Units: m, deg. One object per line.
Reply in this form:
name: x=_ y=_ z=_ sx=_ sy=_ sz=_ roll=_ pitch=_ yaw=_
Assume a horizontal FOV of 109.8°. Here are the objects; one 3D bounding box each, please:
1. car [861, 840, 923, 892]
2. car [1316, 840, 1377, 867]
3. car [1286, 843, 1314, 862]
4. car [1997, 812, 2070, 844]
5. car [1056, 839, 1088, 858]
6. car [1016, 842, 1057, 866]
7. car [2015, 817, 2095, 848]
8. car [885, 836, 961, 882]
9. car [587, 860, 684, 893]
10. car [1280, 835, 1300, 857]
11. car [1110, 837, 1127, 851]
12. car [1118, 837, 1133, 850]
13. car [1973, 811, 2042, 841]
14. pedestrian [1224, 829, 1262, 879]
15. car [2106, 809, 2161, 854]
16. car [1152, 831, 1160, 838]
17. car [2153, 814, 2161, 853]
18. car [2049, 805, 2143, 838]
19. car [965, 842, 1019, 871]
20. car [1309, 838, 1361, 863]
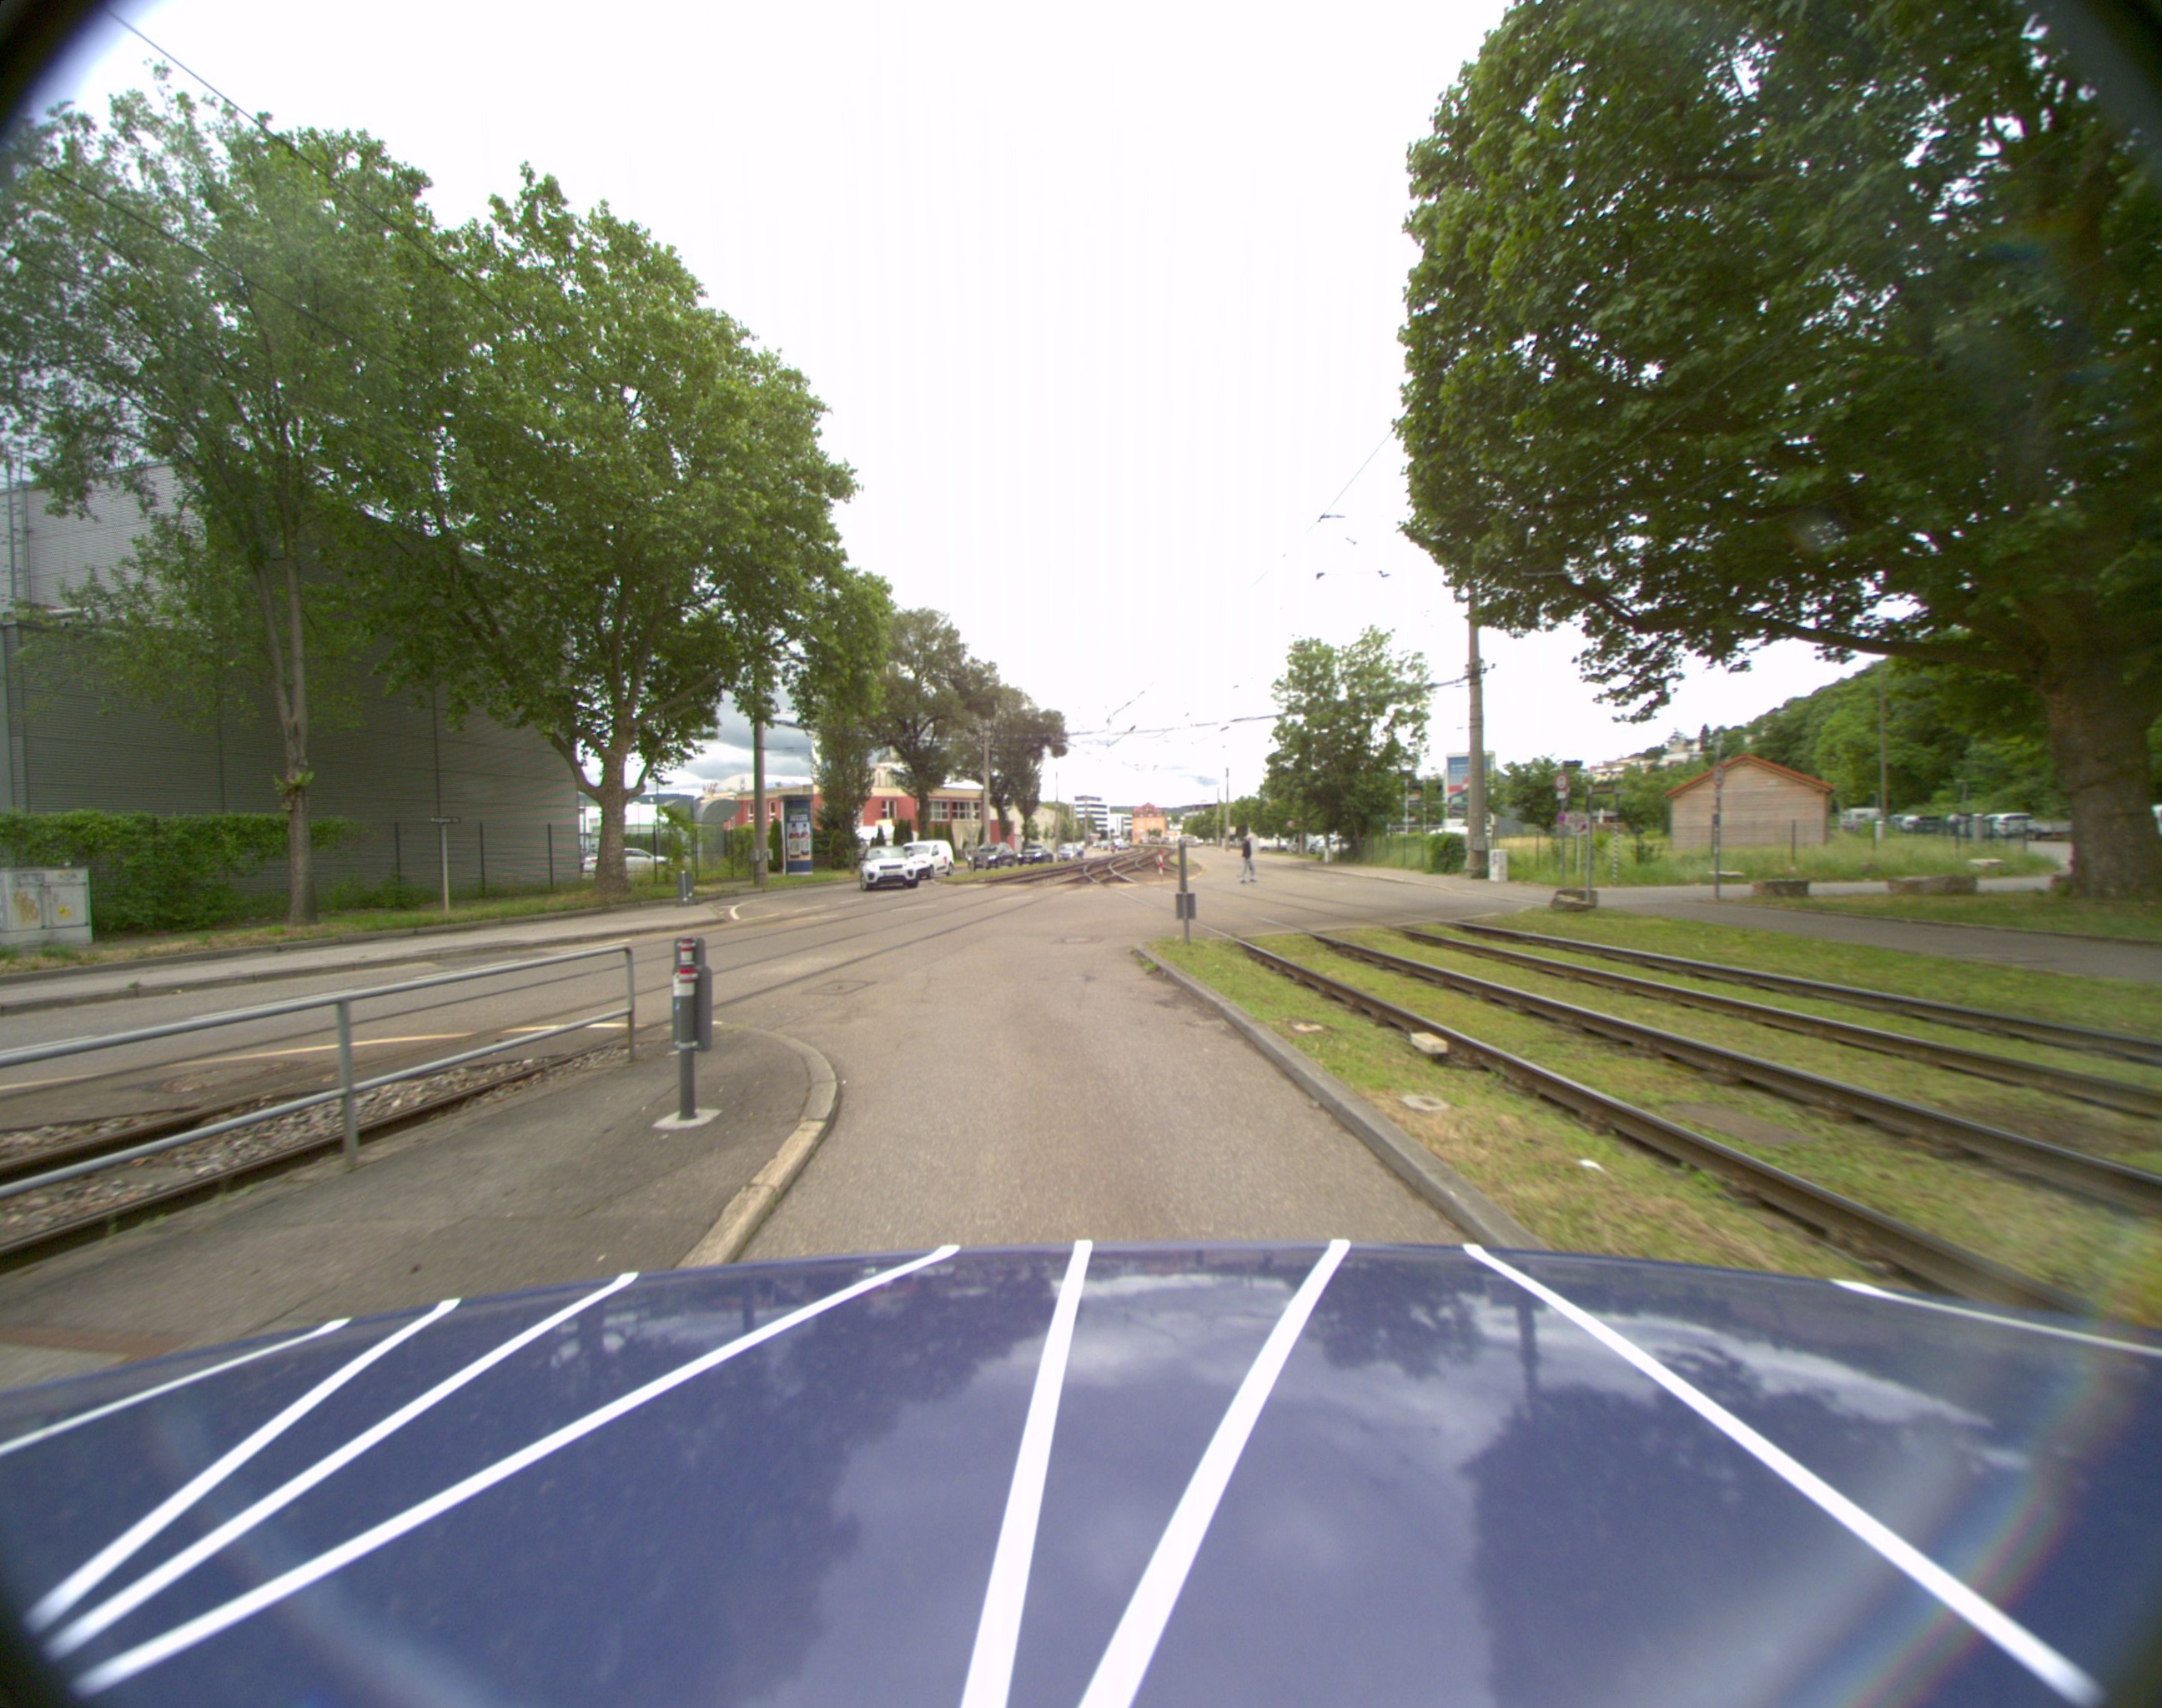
car: x=-7.131 y=0.387 z=28.771 sx=2.001 sy=1.680 sz=4.263 roll=-4 pitch=2 yaw=-14
car: x=26.222 y=-0.069 z=75.198 sx=5.265 sy=2.254 sz=2.001 roll=-4 pitch=1 yaw=9
car: x=26.354 y=-0.225 z=91.625 sx=2.140 sy=2.104 sz=4.777 roll=-4 pitch=1 yaw=3
car: x=53.605 y=-1.492 z=42.827 sx=1.753 sy=1.603 sz=3.687 roll=-4 pitch=1 yaw=39
car: x=-0.731 y=-0.515 z=67.684 sx=1.997 sy=1.547 sz=4.563 roll=-3 pitch=1 yaw=9
car: x=-3.228 y=-0.032 z=56.115 sx=1.997 sy=1.547 sz=4.563 roll=-3 pitch=1 yaw=9
car: x=50.797 y=-1.160 z=39.708 sx=1.753 sy=1.369 sz=3.687 roll=-4 pitch=1 yaw=39
car: x=-7.480 y=0.194 z=36.523 sx=1.997 sy=1.990 sz=5.036 roll=-2 pitch=1 yaw=7
car: x=-26.404 y=1.288 z=45.143 sx=1.994 sy=1.656 sz=4.510 roll=-1 pitch=1 yaw=39
car: x=30.917 y=-1.285 z=112.628 sx=2.318 sy=2.994 sz=6.162 roll=-4 pitch=1 yaw=11
car: x=4.912 y=-1.310 z=99.846 sx=1.868 sy=1.740 sz=4.001 roll=-4 pitch=1 yaw=7
car: x=6.967 y=-1.646 z=118.807 sx=1.868 sy=1.740 sz=4.001 roll=-4 pitch=1 yaw=7
car: x=56.252 y=-1.723 z=46.202 sx=1.753 sy=1.603 sz=3.687 roll=-4 pitch=1 yaw=36
pedestrian: x=5.995 y=-0.002 z=28.206 sx=1.120 sy=1.750 sz=0.813 roll=-4 pitch=1 yaw=0
car: x=43.414 y=-0.963 z=30.438 sx=1.905 sy=1.603 sz=3.687 roll=-4 pitch=1 yaw=39
car: x=21.354 y=-5.449 z=215.496 sx=1.903 sy=1.708 sz=4.137 roll=-3 pitch=2 yaw=10
car: x=39.896 y=-0.713 z=26.672 sx=1.696 sy=1.416 sz=3.509 roll=-4 pitch=1 yaw=39
car: x=47.438 y=-1.544 z=35.609 sx=1.753 sy=1.369 sz=3.687 roll=-4 pitch=1 yaw=39
car: x=-5.334 y=0.117 z=46.359 sx=1.997 sy=1.547 sz=4.563 roll=-3 pitch=1 yaw=9
car: x=26.339 y=-0.341 z=78.934 sx=4.770 sy=2.254 sz=1.981 roll=-4 pitch=1 yaw=9
